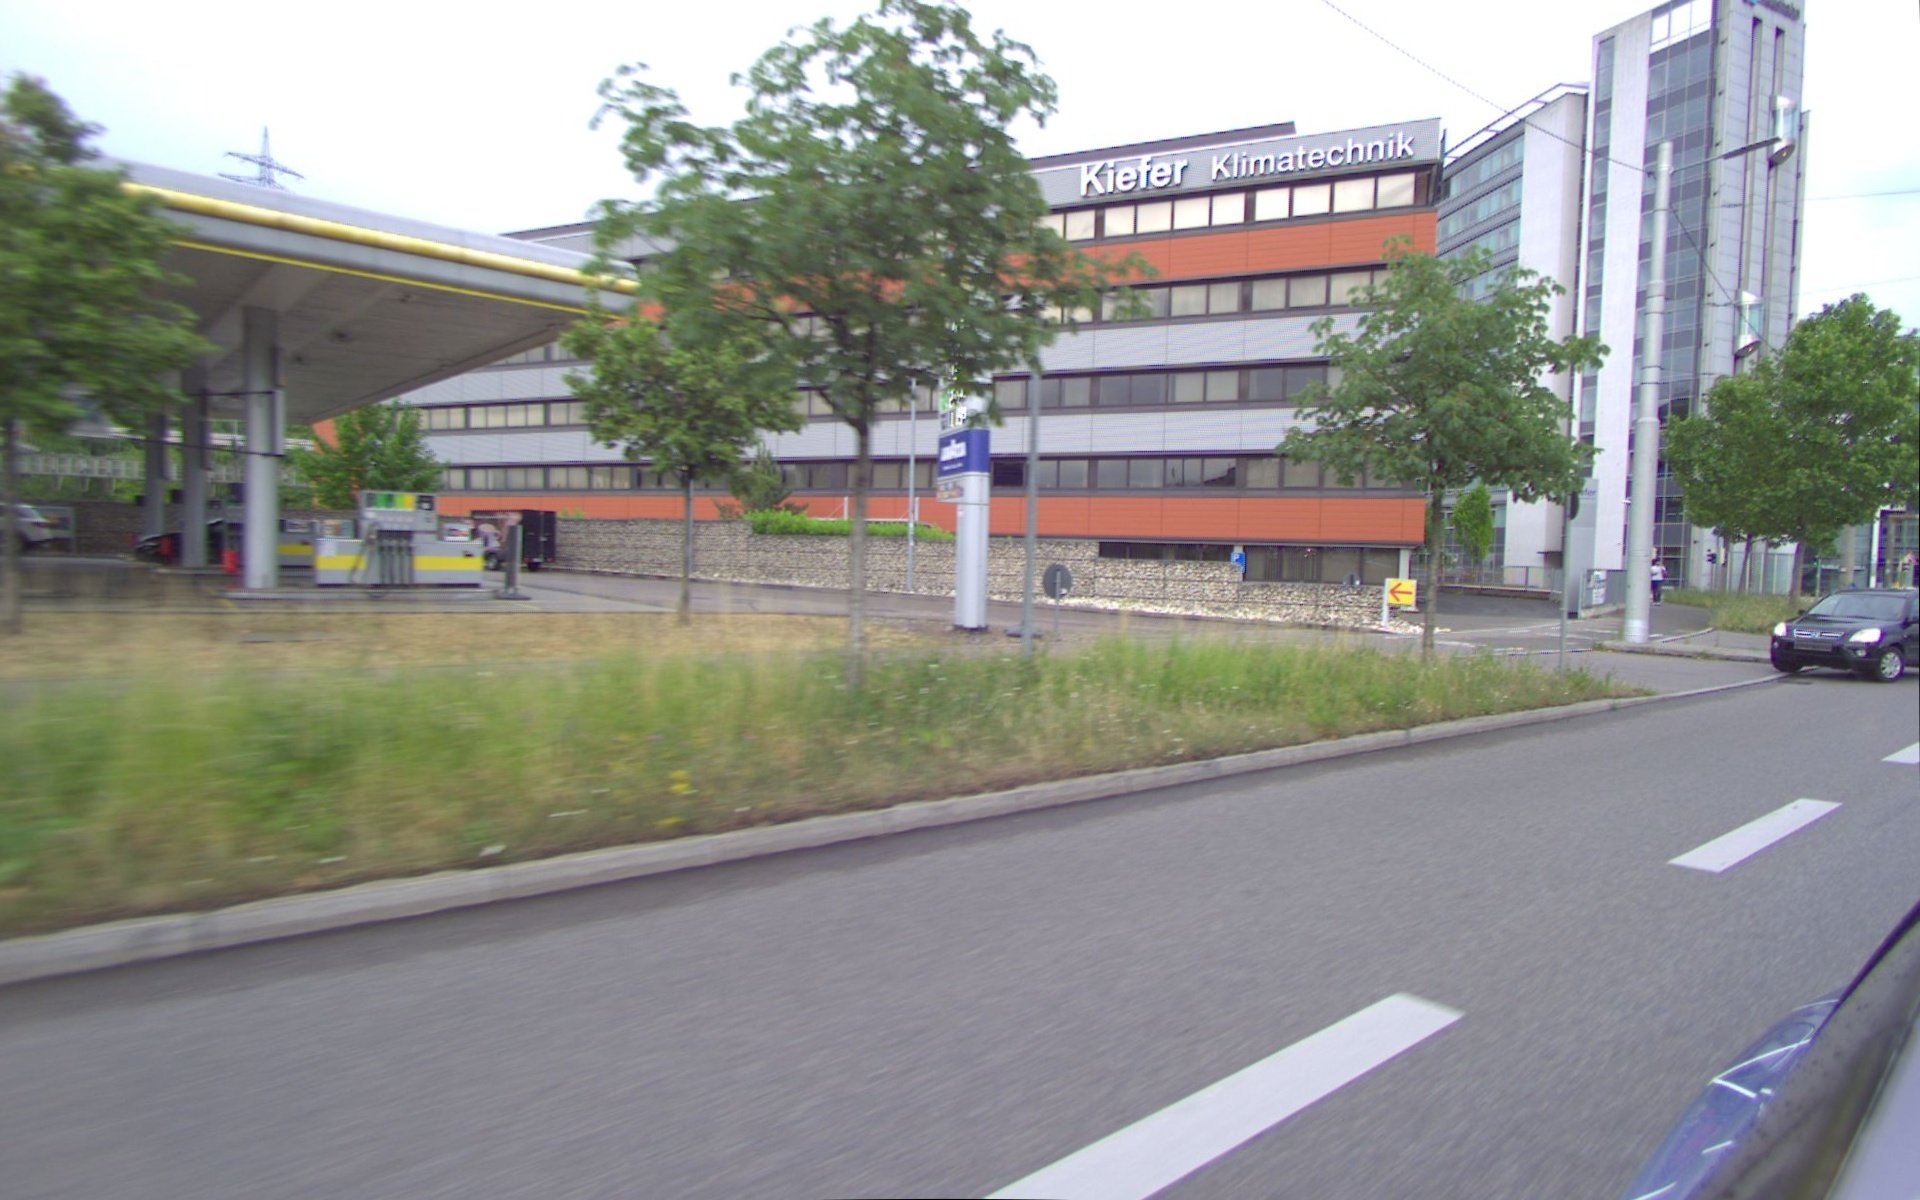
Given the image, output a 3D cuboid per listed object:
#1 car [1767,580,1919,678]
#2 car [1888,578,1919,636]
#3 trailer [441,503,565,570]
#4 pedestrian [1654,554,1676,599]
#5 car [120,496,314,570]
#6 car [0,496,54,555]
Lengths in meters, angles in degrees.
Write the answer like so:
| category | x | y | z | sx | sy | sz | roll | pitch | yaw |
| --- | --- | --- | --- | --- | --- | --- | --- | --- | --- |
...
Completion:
| category | x | y | z | sx | sy | sz | roll | pitch | yaw |
| --- | --- | --- | --- | --- | --- | --- | --- | --- | --- |
| car | 17.579 | 0.471 | 19.119 | 4.269 | 1.667 | 1.798 | 0 | 2 | -23 |
| car | 27.224 | 0.210 | 27.798 | 3.765 | 1.512 | 1.880 | 0 | 2 | -37 |
| trailer | -16.075 | -2.226 | 35.592 | 3.958 | 2.172 | 1.824 | 3 | 3 | 24 |
| pedestrian | 30.548 | -1.007 | 43.843 | 0.675 | 1.924 | 0.673 | 0 | 0 | 26 |
| car | -19.321 | -1.718 | 26.379 | 3.931 | 1.668 | 1.903 | -1 | 7 | -41 |
| car | -30.580 | -2.294 | 30.715 | 4.521 | 1.686 | 1.997 | -1 | 1 | -41 |
